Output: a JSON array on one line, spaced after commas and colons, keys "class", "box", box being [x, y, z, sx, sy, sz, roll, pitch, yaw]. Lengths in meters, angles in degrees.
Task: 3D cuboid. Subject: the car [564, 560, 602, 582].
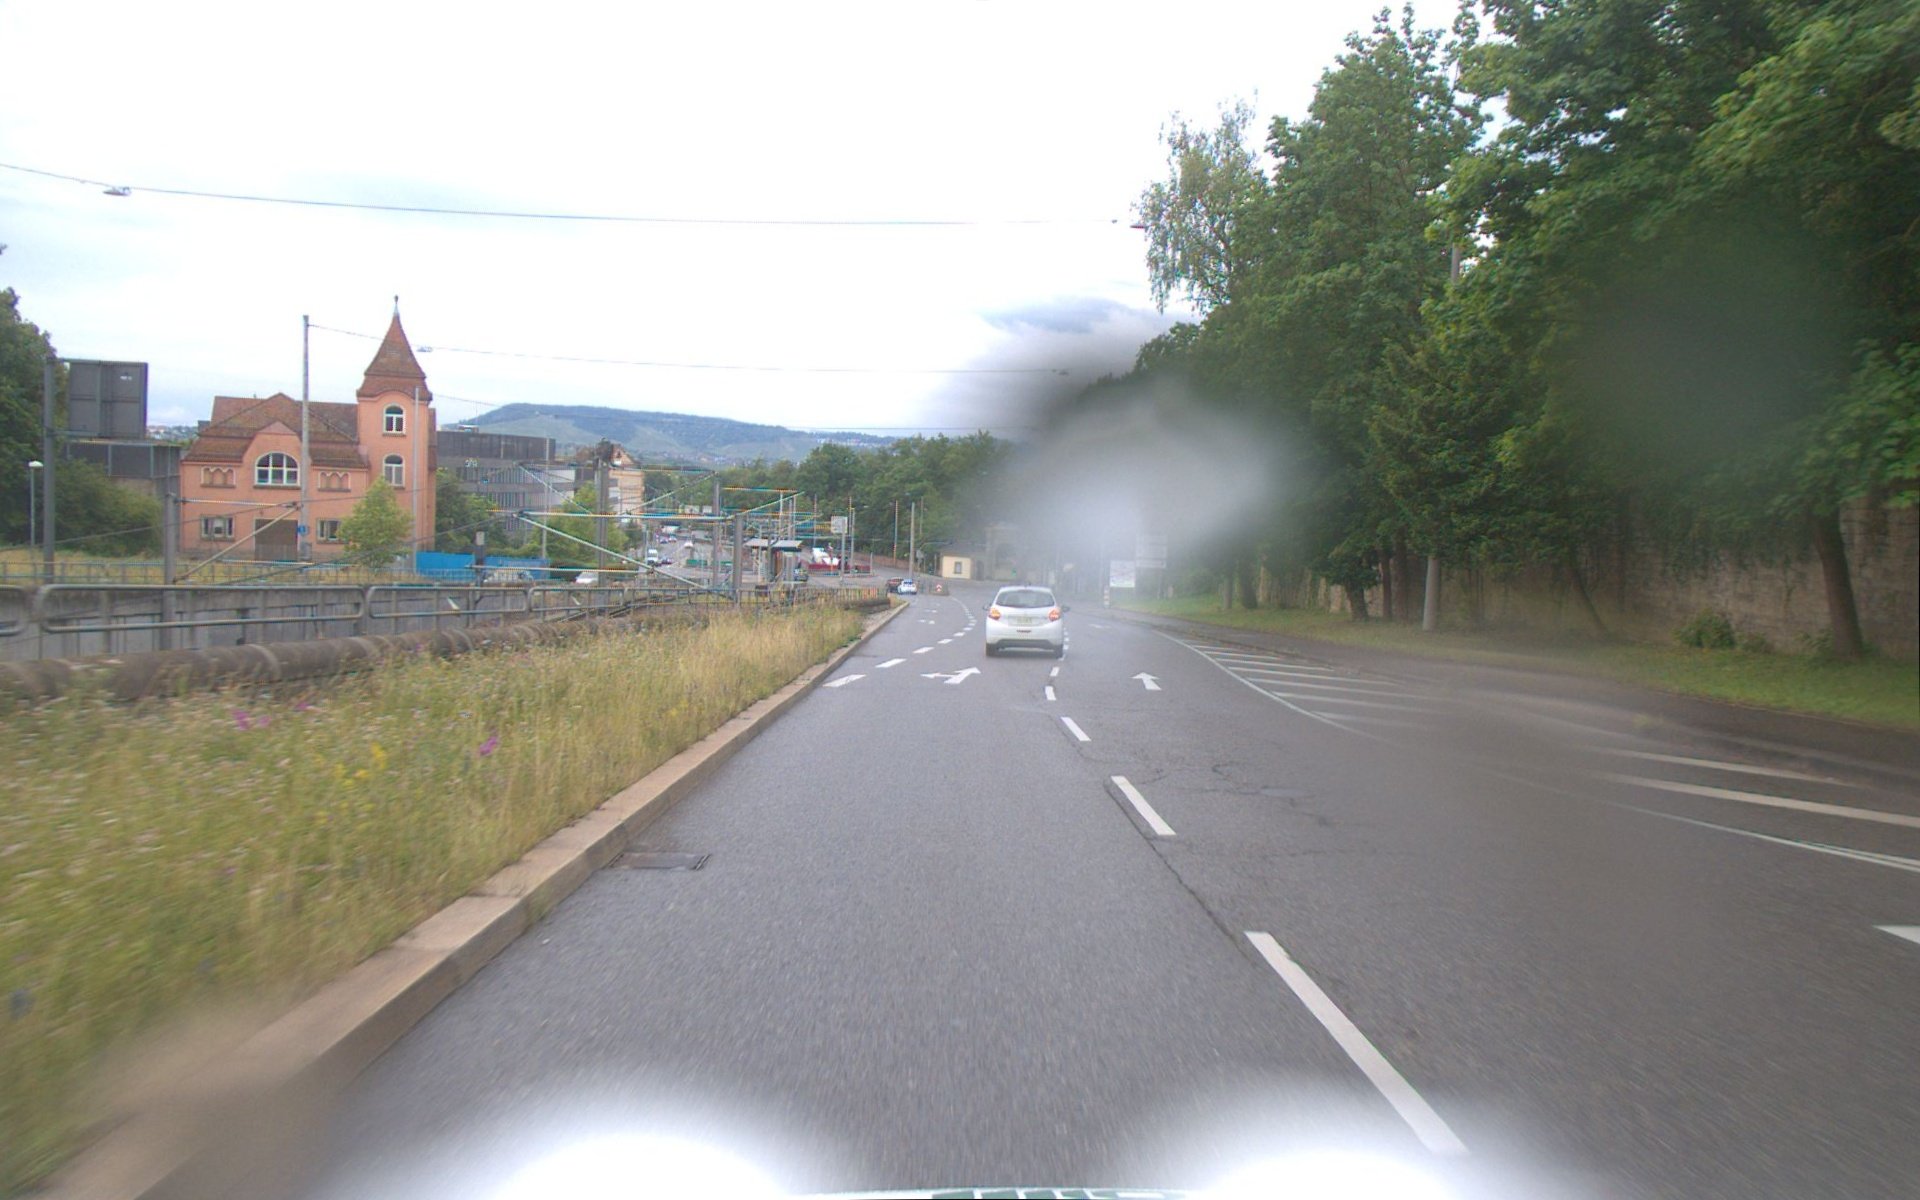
[{"class": "car", "box": [-24.040, -1.880, 105.636, 1.523, 1.314, 3.559, 2, 1, 0]}]

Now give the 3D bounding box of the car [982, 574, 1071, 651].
[{"class": "car", "box": [1.401, 0.233, 36.140, 1.830, 1.537, 3.900, 0, 1, 0]}]

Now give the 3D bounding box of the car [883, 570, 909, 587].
[{"class": "car", "box": [-7.184, -2.432, 184.761, 1.962, 1.735, 3.981, 1, 1, -17]}]

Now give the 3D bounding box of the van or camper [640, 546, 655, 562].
[{"class": "van or camper", "box": [-47.087, -6.922, 249.090, 1.956, 2.386, 3.993, 0, 0, -8]}]

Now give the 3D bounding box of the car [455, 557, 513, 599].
[{"class": "car", "box": [-24.661, -1.161, 85.845, 1.853, 2.004, 4.033, 4, 1, -3]}]

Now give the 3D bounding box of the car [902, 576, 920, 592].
[{"class": "car", "box": [-5.211, -1.739, 175.689, 1.785, 1.634, 4.001, 0, 1, 1]}]
